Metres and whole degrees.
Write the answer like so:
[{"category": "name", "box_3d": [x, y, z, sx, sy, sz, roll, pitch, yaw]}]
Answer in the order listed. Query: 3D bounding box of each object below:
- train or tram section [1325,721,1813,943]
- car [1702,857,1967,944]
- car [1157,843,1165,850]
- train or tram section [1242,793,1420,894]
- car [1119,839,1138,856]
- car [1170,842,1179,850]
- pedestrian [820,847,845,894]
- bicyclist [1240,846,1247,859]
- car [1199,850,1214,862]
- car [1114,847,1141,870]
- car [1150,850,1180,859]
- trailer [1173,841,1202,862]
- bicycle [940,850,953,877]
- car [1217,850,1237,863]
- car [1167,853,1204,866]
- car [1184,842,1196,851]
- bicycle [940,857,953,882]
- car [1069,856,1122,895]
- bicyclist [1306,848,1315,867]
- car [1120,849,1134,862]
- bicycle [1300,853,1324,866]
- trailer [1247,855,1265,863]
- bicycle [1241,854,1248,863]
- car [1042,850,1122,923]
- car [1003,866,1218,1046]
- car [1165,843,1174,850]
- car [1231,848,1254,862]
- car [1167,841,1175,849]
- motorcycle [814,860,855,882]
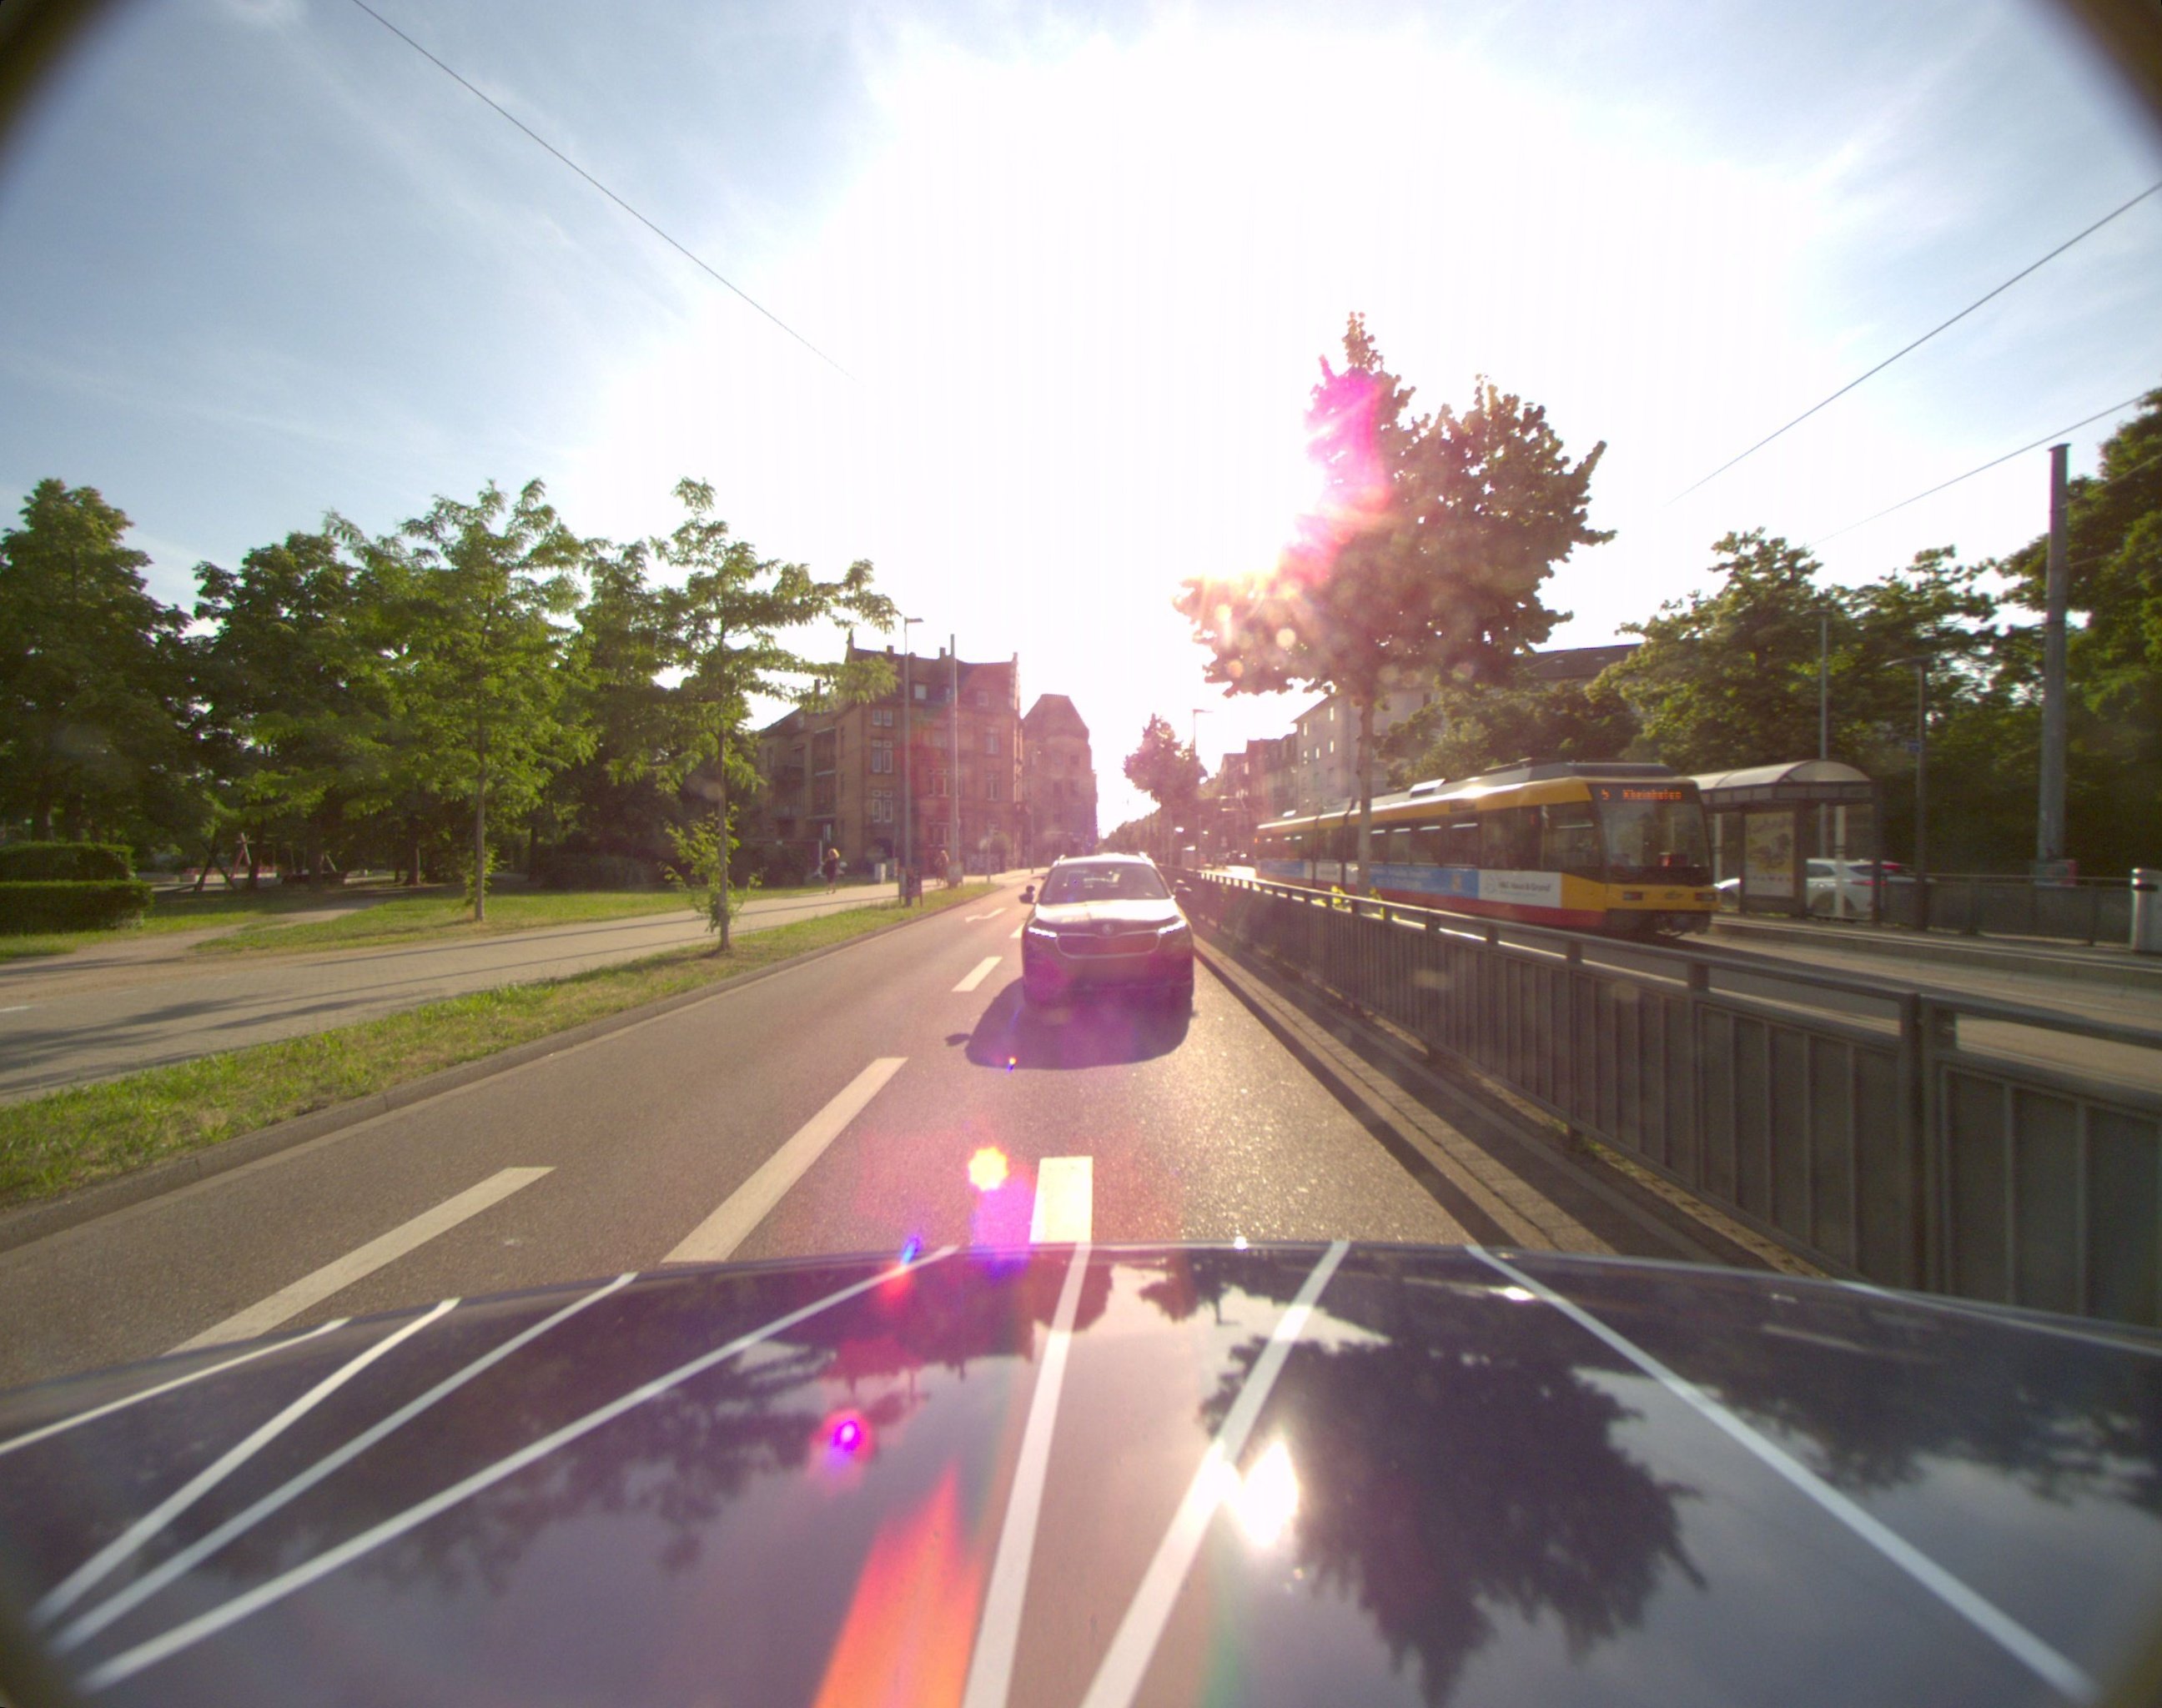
[{"category": "train or tram section", "box_3d": [10.091, -0.354, 19.317, 3.170, 3.459, 14.471, -1, 0, 0]}, {"category": "car", "box_3d": [16.631, 0.925, 17.110, 1.998, 1.674, 4.000, -1, 0, 0]}, {"category": "car", "box_3d": [25.110, -2.438, 237.688, 1.998, 2.002, 4.000, -1, 0, 1]}, {"category": "train or tram section", "box_3d": [10.296, -0.371, 33.866, 3.170, 3.459, 14.532, -1, 0, 0]}, {"category": "car", "box_3d": [5.621, -0.745, 90.085, 1.998, 2.002, 4.000, 0, 1, 1]}, {"category": "car", "box_3d": [23.672, -2.097, 192.034, 1.998, 2.002, 4.001, -1, 0, 5]}, {"category": "pedestrian", "box_3d": [-9.190, 0.620, 28.129, 0.616, 1.682, 0.549, 4, 1, 5]}, {"category": "bicyclist", "box_3d": [17.867, -0.113, 83.567, 0.652, 1.405, 0.717, -1, 1, 4]}, {"category": "car", "box_3d": [21.061, 0.352, 127.638, 2.170, 1.890, 4.611, -1, 0, 4]}, {"category": "car", "box_3d": [3.800, 0.333, 62.312, 1.998, 1.772, 4.000, 0, 1, 1]}, {"category": "car", "box_3d": [13.367, 0.040, 121.204, 4.259, 1.414, 2.176, -1, 0, 43]}, {"category": "trailer", "box_3d": [12.495, -0.232, 88.949, 2.858, 2.378, 1.726, -1, 0, 33]}, {"category": "bicycle", "box_3d": [-6.687, 0.466, 37.739, 0.575, 1.290, 0.687, -1, 1, -16]}, {"category": "car", "box_3d": [20.376, 0.336, 106.415, 2.170, 1.740, 4.611, -1, 0, 4]}, {"category": "car", "box_3d": [11.836, 0.604, 86.236, 3.941, 1.352, 1.676, 0, 1, 39]}, {"category": "car", "box_3d": [23.115, -1.573, 161.120, 1.998, 2.002, 4.000, -1, 0, 2]}, {"category": "bicycle", "box_3d": [-6.709, 0.762, 37.817, 0.485, 1.183, 1.337, -1, 0, -16]}, {"category": "car", "box_3d": [0.708, 0.889, 33.634, 1.997, 1.565, 4.002, -1, 0, 6]}, {"category": "bicyclist", "box_3d": [19.728, 0.275, 65.285, 0.772, 1.633, 0.795, 0, 1, 15]}, {"category": "car", "box_3d": [6.875, 0.230, 114.395, 1.998, 2.002, 4.000, 0, 1, 1]}, {"category": "bicycle", "box_3d": [19.830, 0.456, 65.275, 1.913, 1.104, 0.736, 0, 1, 15]}, {"category": "trailer", "box_3d": [20.270, 0.574, 88.011, 1.444, 0.891, 2.880, -4, 0, 2]}, {"category": "bicycle", "box_3d": [17.923, 0.477, 83.338, 0.543, 1.012, 2.251, -1, 0, 5]}, {"category": "car", "box_3d": [0.063, 0.831, 21.494, 1.998, 1.827, 4.000, -1, 0, 1]}, {"category": "car", "box_3d": [0.370, 0.907, 8.541, 1.839, 1.472, 4.001, 0, 0, 3]}, {"category": "car", "box_3d": [25.091, -2.076, 215.860, 1.998, 2.002, 4.000, -1, 0, 1]}, {"category": "car", "box_3d": [20.088, 0.127, 94.549, 2.170, 1.740, 4.719, -1, 0, 4]}, {"category": "car", "box_3d": [24.084, -2.336, 203.232, 1.998, 2.002, 4.001, -1, 0, 5]}, {"category": "motorcycle", "box_3d": [-13.508, 0.926, 41.699, 2.002, 1.153, 0.708, -1, 0, -4]}]
